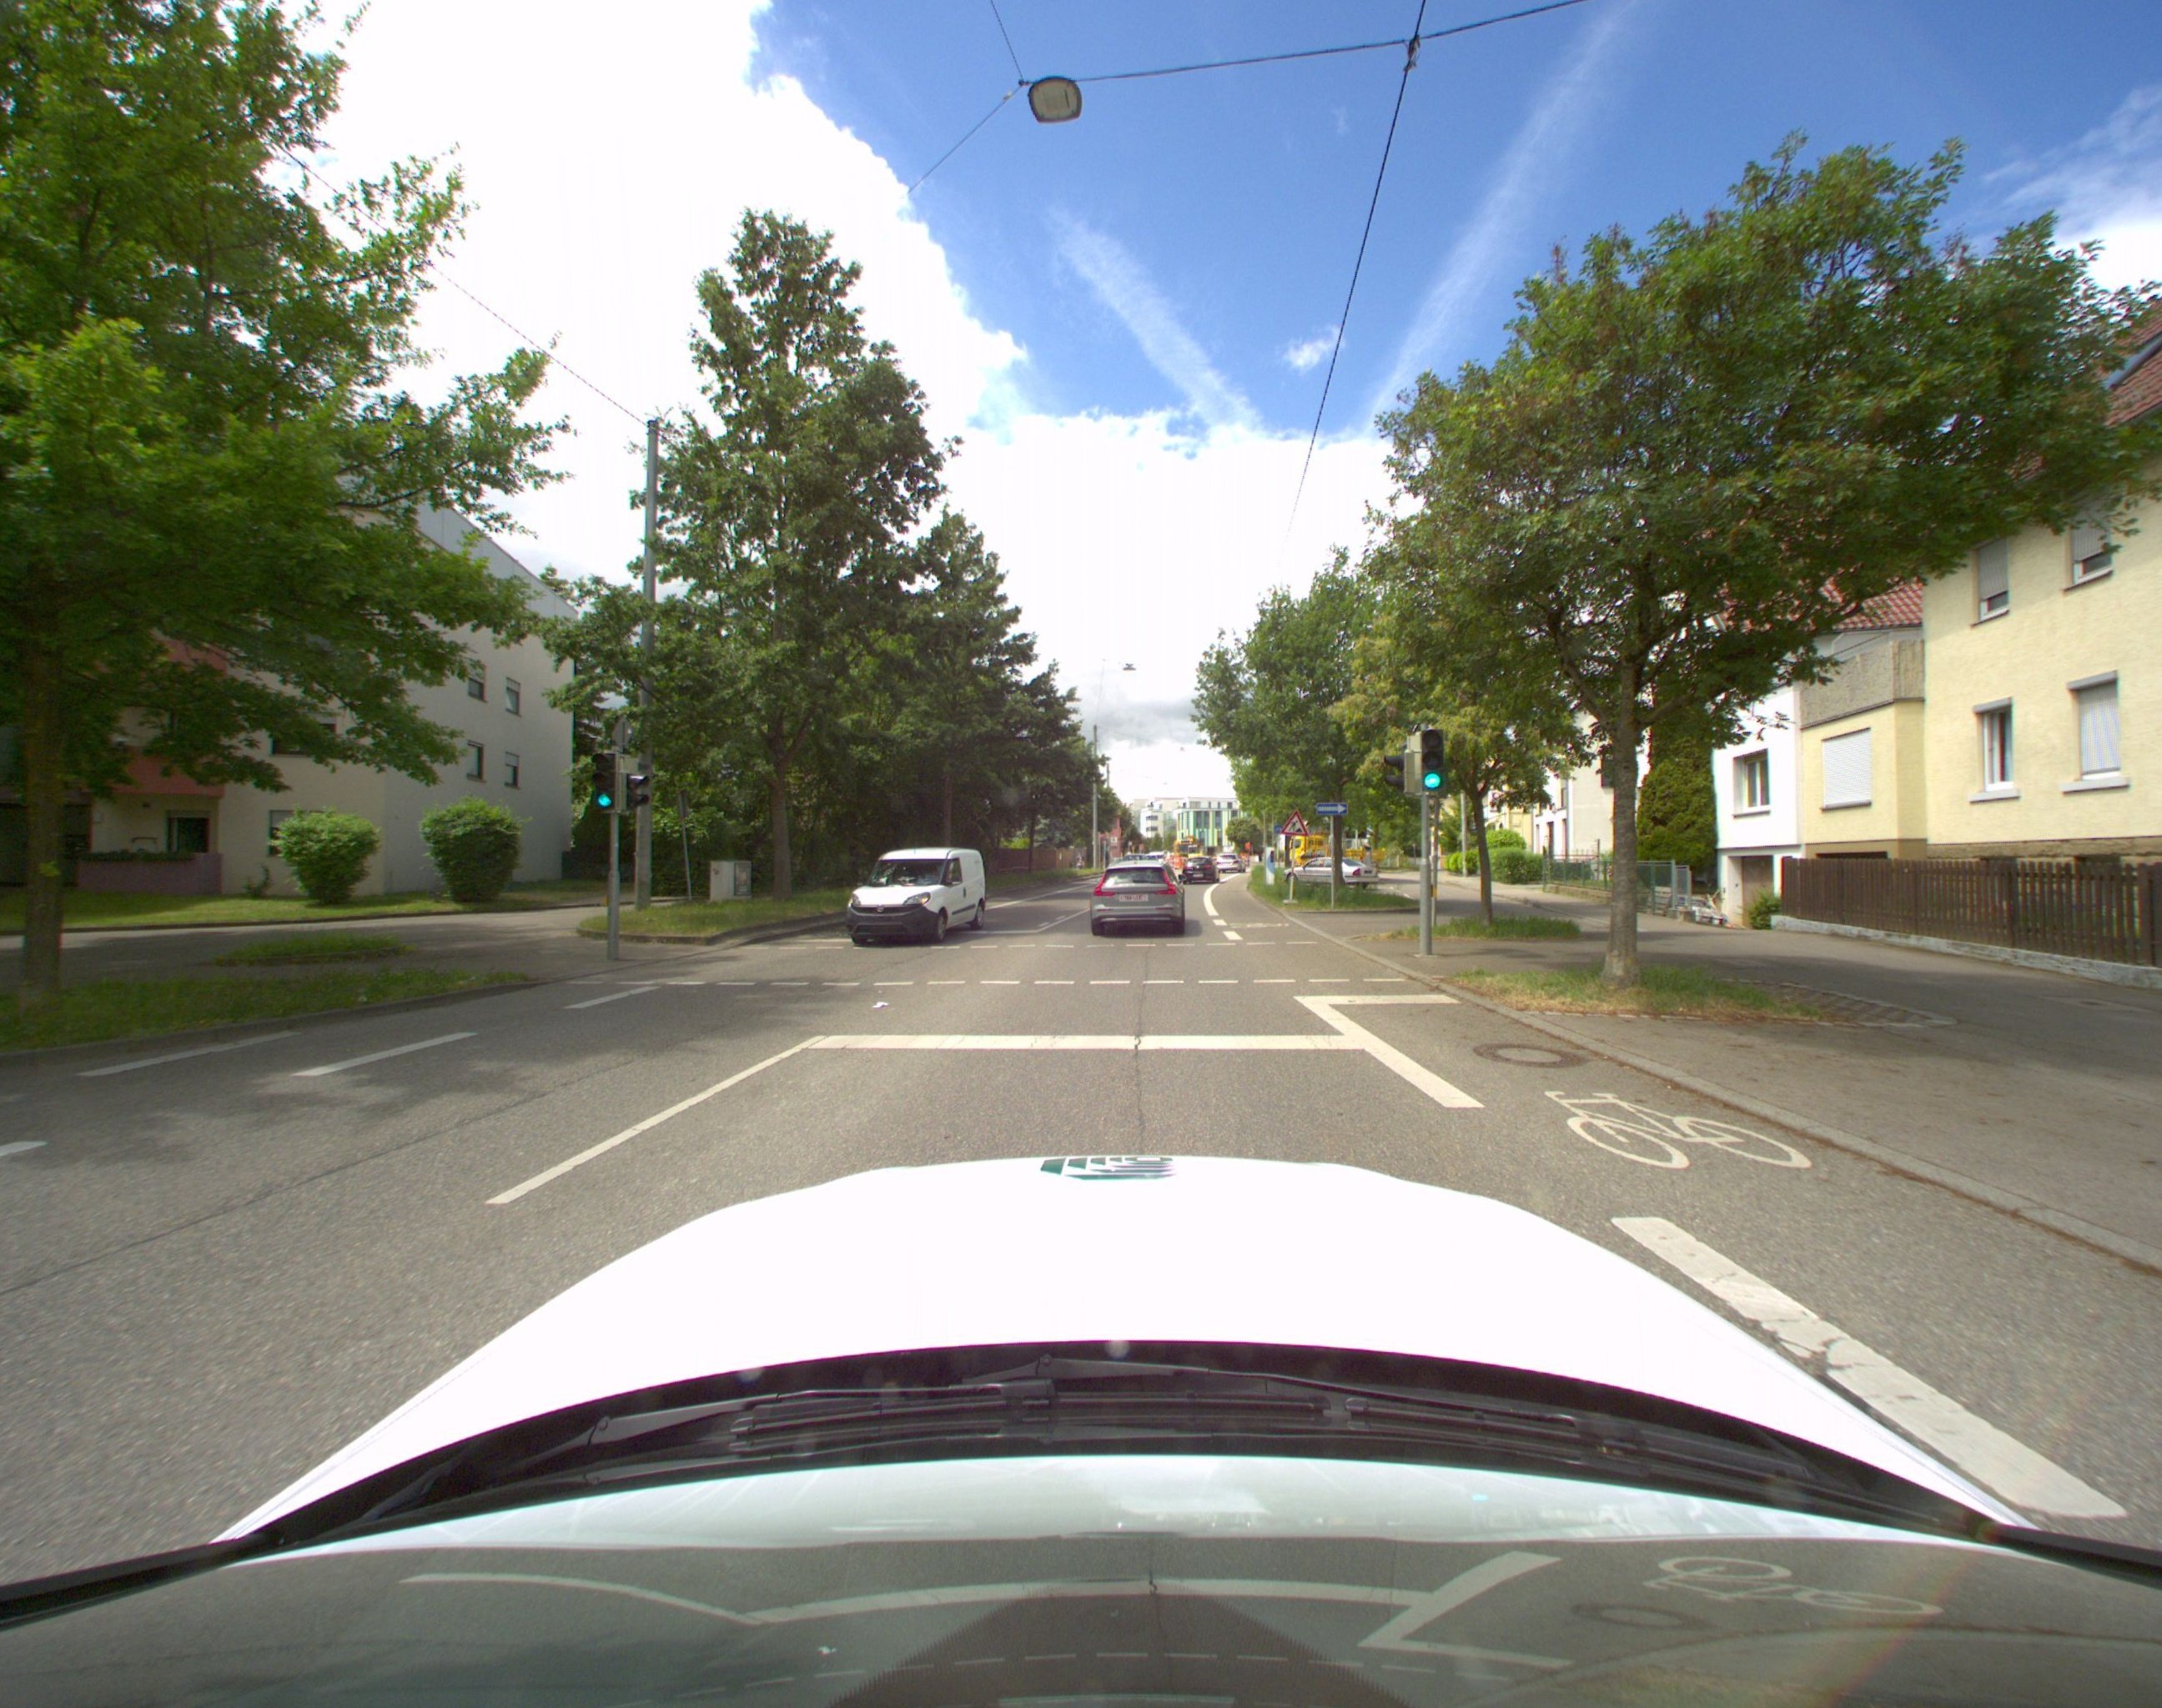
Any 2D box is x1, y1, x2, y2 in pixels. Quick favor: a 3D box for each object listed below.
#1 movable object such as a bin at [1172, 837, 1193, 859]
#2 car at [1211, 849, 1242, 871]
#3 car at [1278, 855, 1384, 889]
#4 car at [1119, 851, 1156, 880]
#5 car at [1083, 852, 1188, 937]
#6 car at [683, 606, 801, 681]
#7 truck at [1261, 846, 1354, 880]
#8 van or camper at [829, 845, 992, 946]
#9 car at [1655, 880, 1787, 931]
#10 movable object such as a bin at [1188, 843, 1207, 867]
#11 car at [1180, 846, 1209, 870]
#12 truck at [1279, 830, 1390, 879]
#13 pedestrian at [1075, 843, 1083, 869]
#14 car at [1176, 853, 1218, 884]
[{"bbox_3d":[14.455,-0.848,115.862,2.302,2.990,6.428,-1,0,1],"label":"movable object such as a bin"},{"bbox_3d":[10.988,0.477,61.654,2.090,1.510,4.009,2,-1,8],"label":"car"},{"bbox_3d":[11.547,0.790,37.892,1.775,1.451,4.640,1,0,-34],"label":"car"},{"bbox_3d":[3.652,0.714,51.891,1.869,1.687,4.258,-2,0,9],"label":"car"},{"bbox_3d":[1.263,0.787,17.354,1.918,1.540,4.008,-2,-1,7],"label":"car"},{"bbox_3d":[-11.198,-6.953,27.220,1.819,1.330,4.007,2,-2,7],"label":"car"},{"bbox_3d":[14.581,0.528,52.709,2.009,2.014,5.613,3,-1,-39],"label":"truck"},{"bbox_3d":[-3.264,0.737,16.565,1.850,1.776,4.390,-1,0,8],"label":"van or camper"},{"bbox_3d":[16.544,1.280,21.260,1.450,1.124,3.889,2,-1,18],"label":"car"},{"bbox_3d":[13.262,0.072,92.740,2.022,2.643,5.955,-1,0,9],"label":"movable object such as a bin"},{"bbox_3d":[10.214,0.354,72.945,1.978,2.014,4.017,2,-1,16],"label":"car"},{"bbox_3d":[16.847,0.047,54.502,2.782,3.008,6.633,3,-1,-36],"label":"truck"},{"bbox_3d":[-0.160,0.153,62.974,0.399,2.014,0.415,2,-1,11],"label":"pedestrian"},{"bbox_3d":[6.101,0.769,43.037,1.656,1.508,3.702,-2,-1,0],"label":"car"}]
